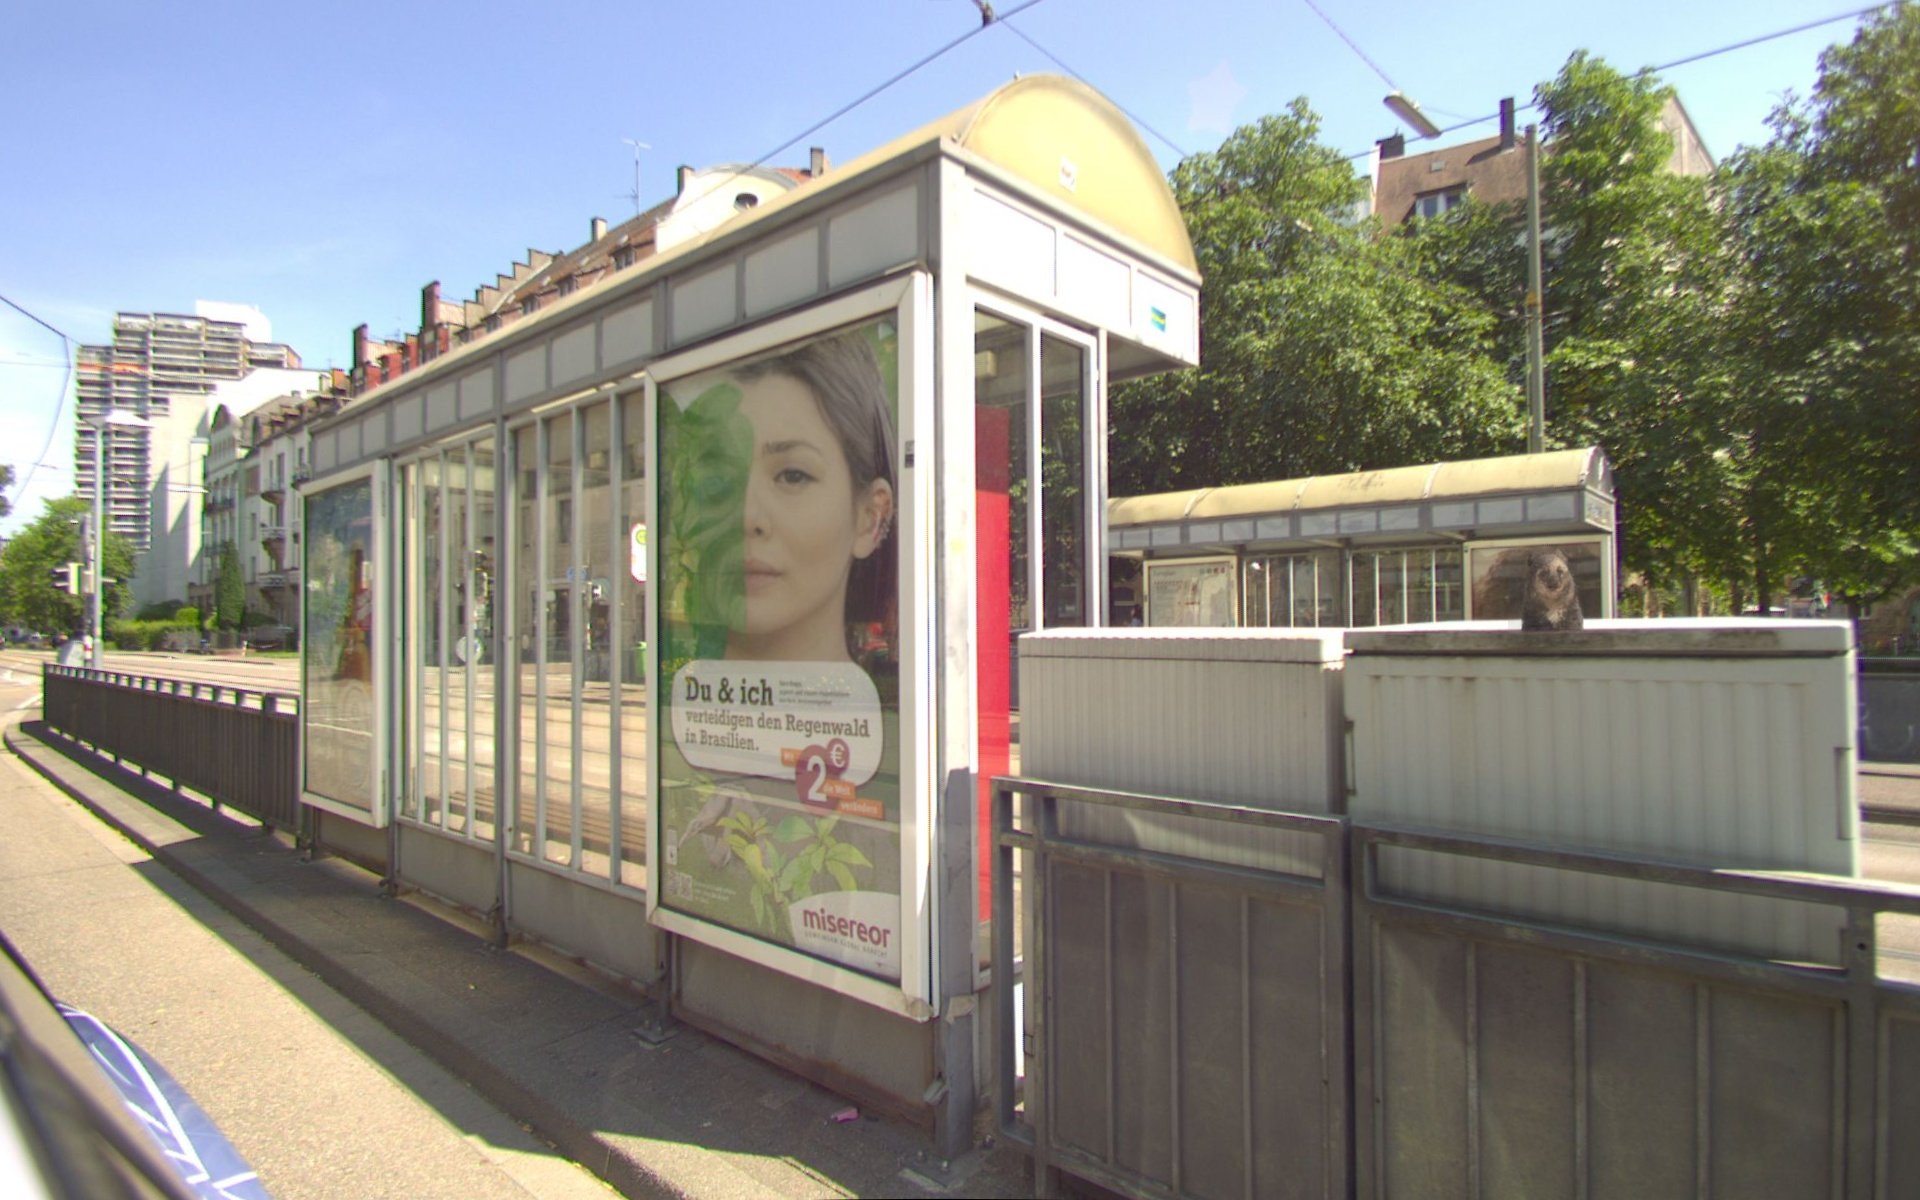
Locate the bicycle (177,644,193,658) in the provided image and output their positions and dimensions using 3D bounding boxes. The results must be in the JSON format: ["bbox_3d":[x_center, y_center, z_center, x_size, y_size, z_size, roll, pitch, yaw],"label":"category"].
[{"bbox_3d":[-52.154,3.429,68.112,1.953,0.955,0.457,-2,-2,42],"label":"bicycle"}]

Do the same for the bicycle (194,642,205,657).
[{"bbox_3d":[-48.883,3.197,65.080,1.614,0.924,0.250,-2,-2,42],"label":"bicycle"}]

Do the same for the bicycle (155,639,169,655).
[{"bbox_3d":[-58.005,3.397,73.554,2.046,1.105,0.487,-2,-2,42],"label":"bicycle"}]

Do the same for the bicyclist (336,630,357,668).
[{"bbox_3d":[-26.006,2.061,42.892,0.585,1.586,0.602,-2,-1,41],"label":"bicyclist"}]

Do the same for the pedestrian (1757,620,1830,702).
[{"bbox_3d":[13.568,0.978,16.481,0.637,1.297,0.618,-1,-1,2],"label":"pedestrian"}]

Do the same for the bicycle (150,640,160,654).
[{"bbox_3d":[-59.865,3.495,75.231,1.899,1.054,0.286,-1,-1,42],"label":"bicycle"}]

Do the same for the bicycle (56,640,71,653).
[{"bbox_3d":[-71.497,3.703,80.676,2.185,1.082,0.637,-2,-3,42],"label":"bicycle"}]

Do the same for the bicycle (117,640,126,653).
[{"bbox_3d":[-69.107,3.849,83.390,1.727,1.076,0.336,-1,-1,42],"label":"bicycle"}]

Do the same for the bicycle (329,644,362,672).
[{"bbox_3d":[-26.098,2.445,42.967,1.977,1.166,0.621,-2,-2,42],"label":"bicycle"}]

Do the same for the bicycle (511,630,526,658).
[{"bbox_3d":[-19.967,1.965,45.736,0.447,1.234,2.086,0,-1,-29],"label":"bicycle"}]

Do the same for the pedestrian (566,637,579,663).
[{"bbox_3d":[-16.307,2.096,42.560,0.405,1.097,0.351,-1,-1,38],"label":"pedestrian"}]

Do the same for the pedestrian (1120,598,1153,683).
[{"bbox_3d":[3.992,0.911,22.882,0.504,1.893,0.494,0,-1,-44],"label":"pedestrian"}]

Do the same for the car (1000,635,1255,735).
[{"bbox_3d":[2.561,1.254,15.977,3.716,1.349,1.525,-1,-1,40],"label":"car"}]

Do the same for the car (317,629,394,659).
[{"bbox_3d":[-32.847,2.385,55.044,3.315,1.483,1.531,-1,-1,-45],"label":"car"}]

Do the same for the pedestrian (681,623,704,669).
[{"bbox_3d":[-10.192,1.736,38.560,0.727,1.744,0.538,-1,-1,39],"label":"pedestrian"}]

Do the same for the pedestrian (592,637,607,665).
[{"bbox_3d":[-15.032,2.111,42.196,0.405,1.157,0.401,-1,-1,38],"label":"pedestrian"}]

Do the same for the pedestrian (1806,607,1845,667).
[{"bbox_3d":[29.621,1.258,34.639,0.800,2.029,0.717,1,-2,-30],"label":"pedestrian"}]

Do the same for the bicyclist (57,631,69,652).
[{"bbox_3d":[-71.449,3.310,80.608,0.579,1.676,0.603,-2,-3,41],"label":"bicyclist"}]
